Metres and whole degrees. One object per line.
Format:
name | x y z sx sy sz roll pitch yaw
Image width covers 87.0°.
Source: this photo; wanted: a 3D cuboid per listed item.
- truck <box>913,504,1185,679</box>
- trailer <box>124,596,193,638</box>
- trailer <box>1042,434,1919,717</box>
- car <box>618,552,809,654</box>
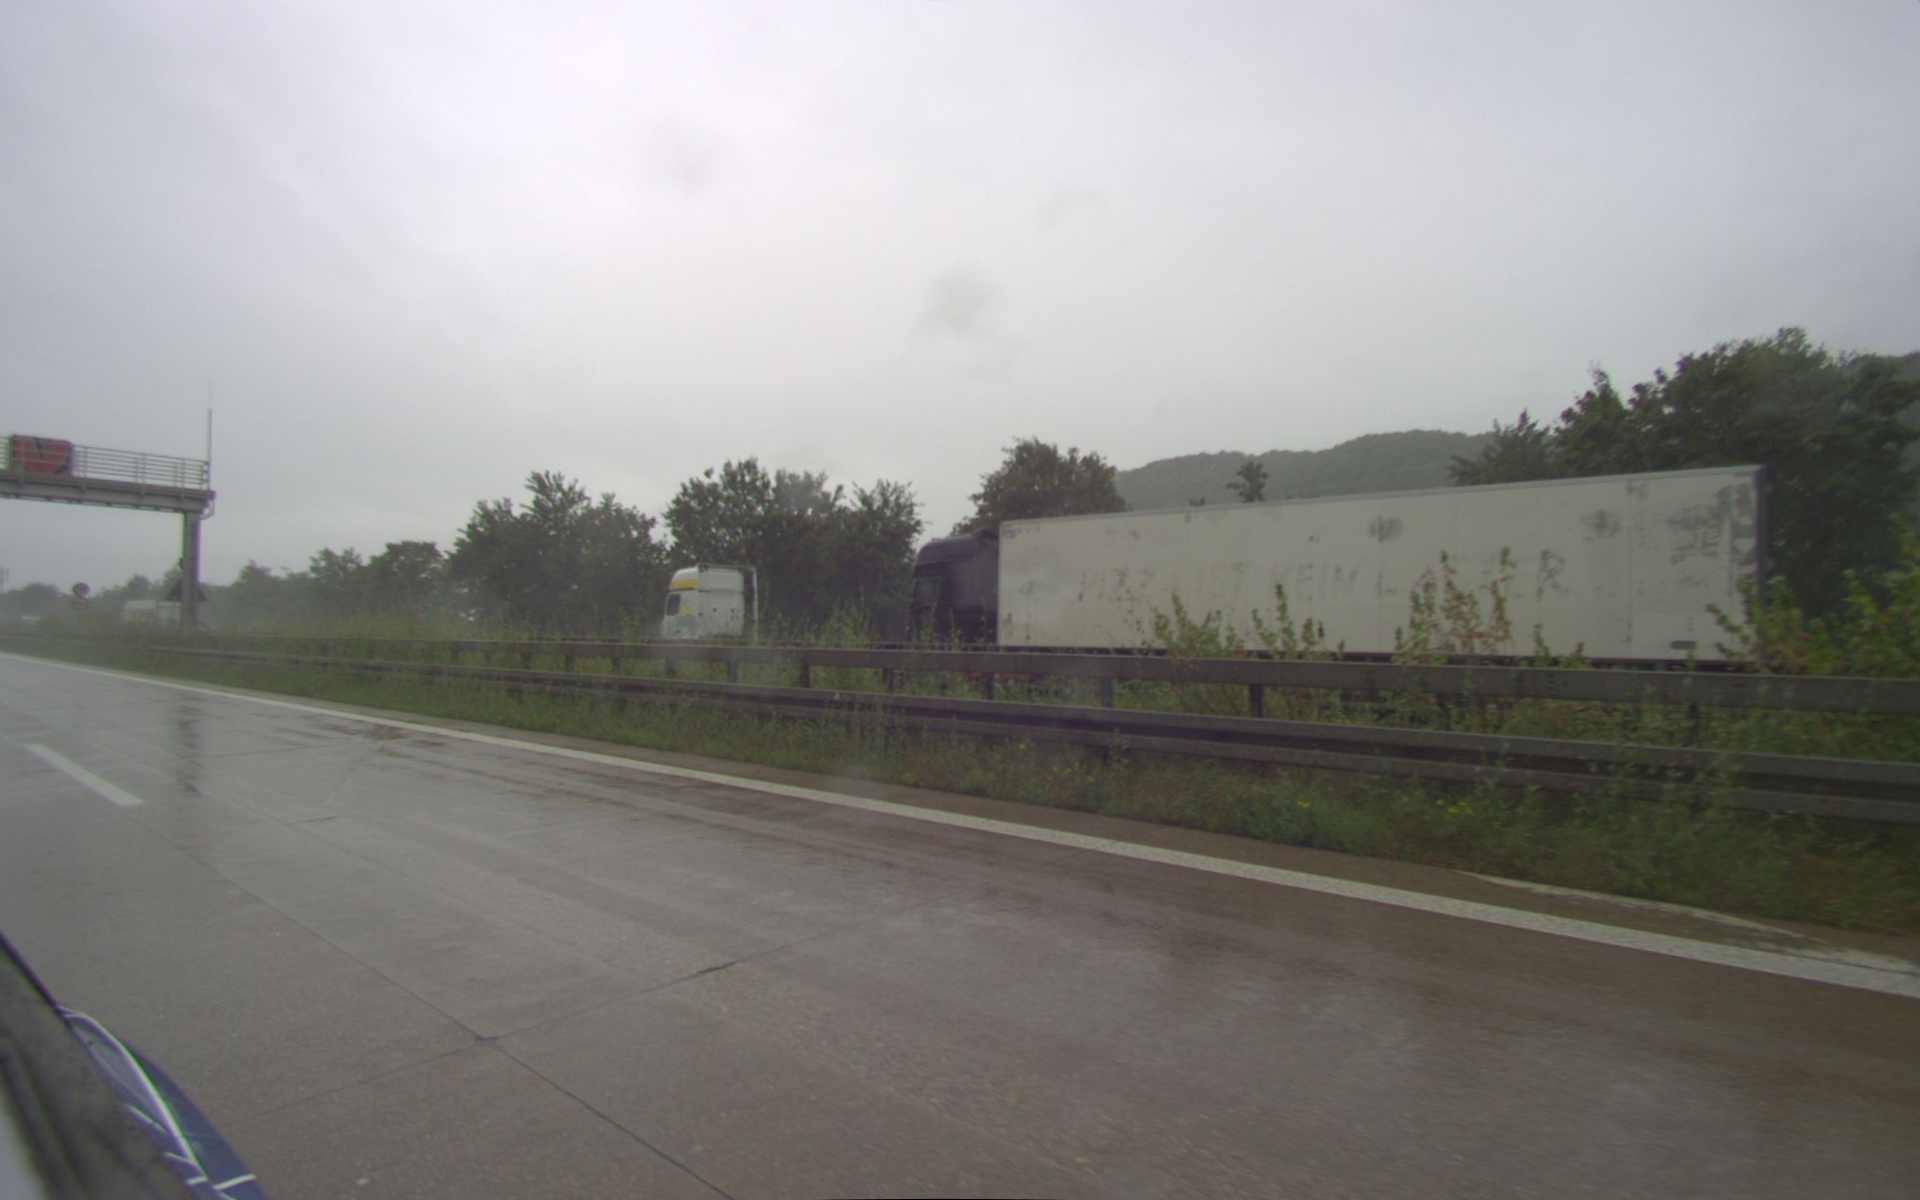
truck | 1.941 -0.117 23.443 5.728 3.536 2.785 -2 -1 41
trailer | -74.369 1.626 93.767 12.281 3.702 2.933 -2 -1 42
trailer | 7.873 -0.248 18.279 13.699 3.569 2.823 -1 0 41
car | -8.887 0.165 35.939 7.598 3.268 2.769 -2 -1 42
